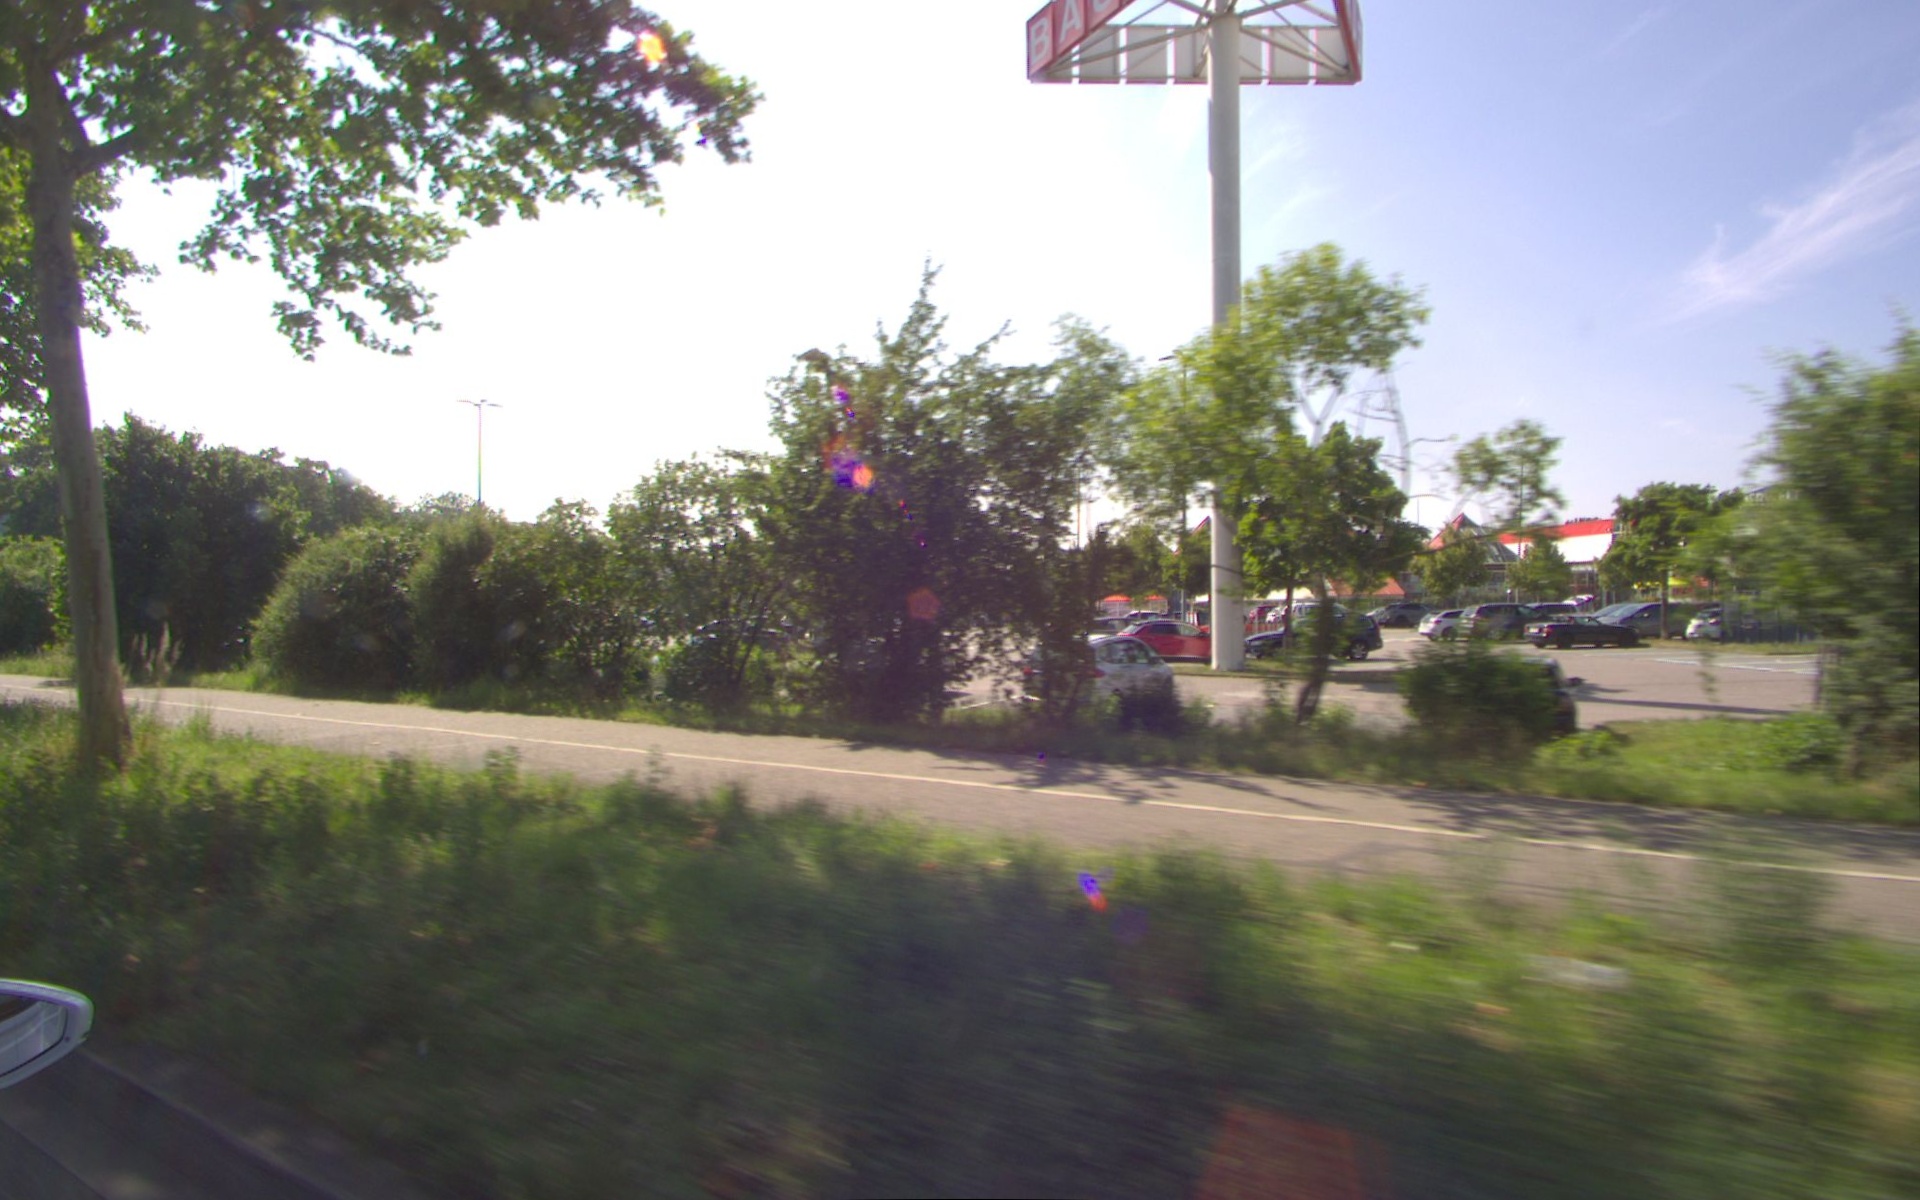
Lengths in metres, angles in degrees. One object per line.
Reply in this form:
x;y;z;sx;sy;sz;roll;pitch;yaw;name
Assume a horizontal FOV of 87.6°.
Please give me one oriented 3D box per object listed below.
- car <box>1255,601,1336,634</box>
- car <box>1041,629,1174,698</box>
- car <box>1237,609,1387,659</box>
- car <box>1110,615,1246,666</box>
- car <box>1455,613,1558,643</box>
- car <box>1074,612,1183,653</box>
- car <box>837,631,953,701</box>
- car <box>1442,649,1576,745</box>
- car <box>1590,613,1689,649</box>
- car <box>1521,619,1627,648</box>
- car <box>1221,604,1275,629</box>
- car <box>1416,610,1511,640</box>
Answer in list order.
18.585;0.989;55.580;3.922;1.772;2.001;0;-2;5;car
3.038;1.223;19.952;1.178;1.240;3.955;-1;-2;31;car
12.239;1.153;34.980;4.665;1.650;1.629;0;1;-1;car
6.961;1.271;32.279;3.922;1.528;2.000;-1;-1;-2;car
23.423;1.211;42.988;3.523;1.239;1.603;0;-2;6;car
6.323;1.214;37.834;3.716;1.505;1.781;0;-1;-5;car
-1.504;1.530;24.156;1.178;1.475;3.146;-1;0;31;car
9.150;1.511;16.565;1.717;1.239;3.573;-1;0;32;car
29.114;1.335;42.980;3.125;1.500;1.603;0;-2;6;car
23.401;1.282;38.219;3.125;1.073;1.519;0;-2;-3;car
22.608;1.295;78.571;3.787;1.972;1.530;0;-1;-2;car
22.947;1.148;45.752;3.523;1.341;1.603;0;-2;6;car
